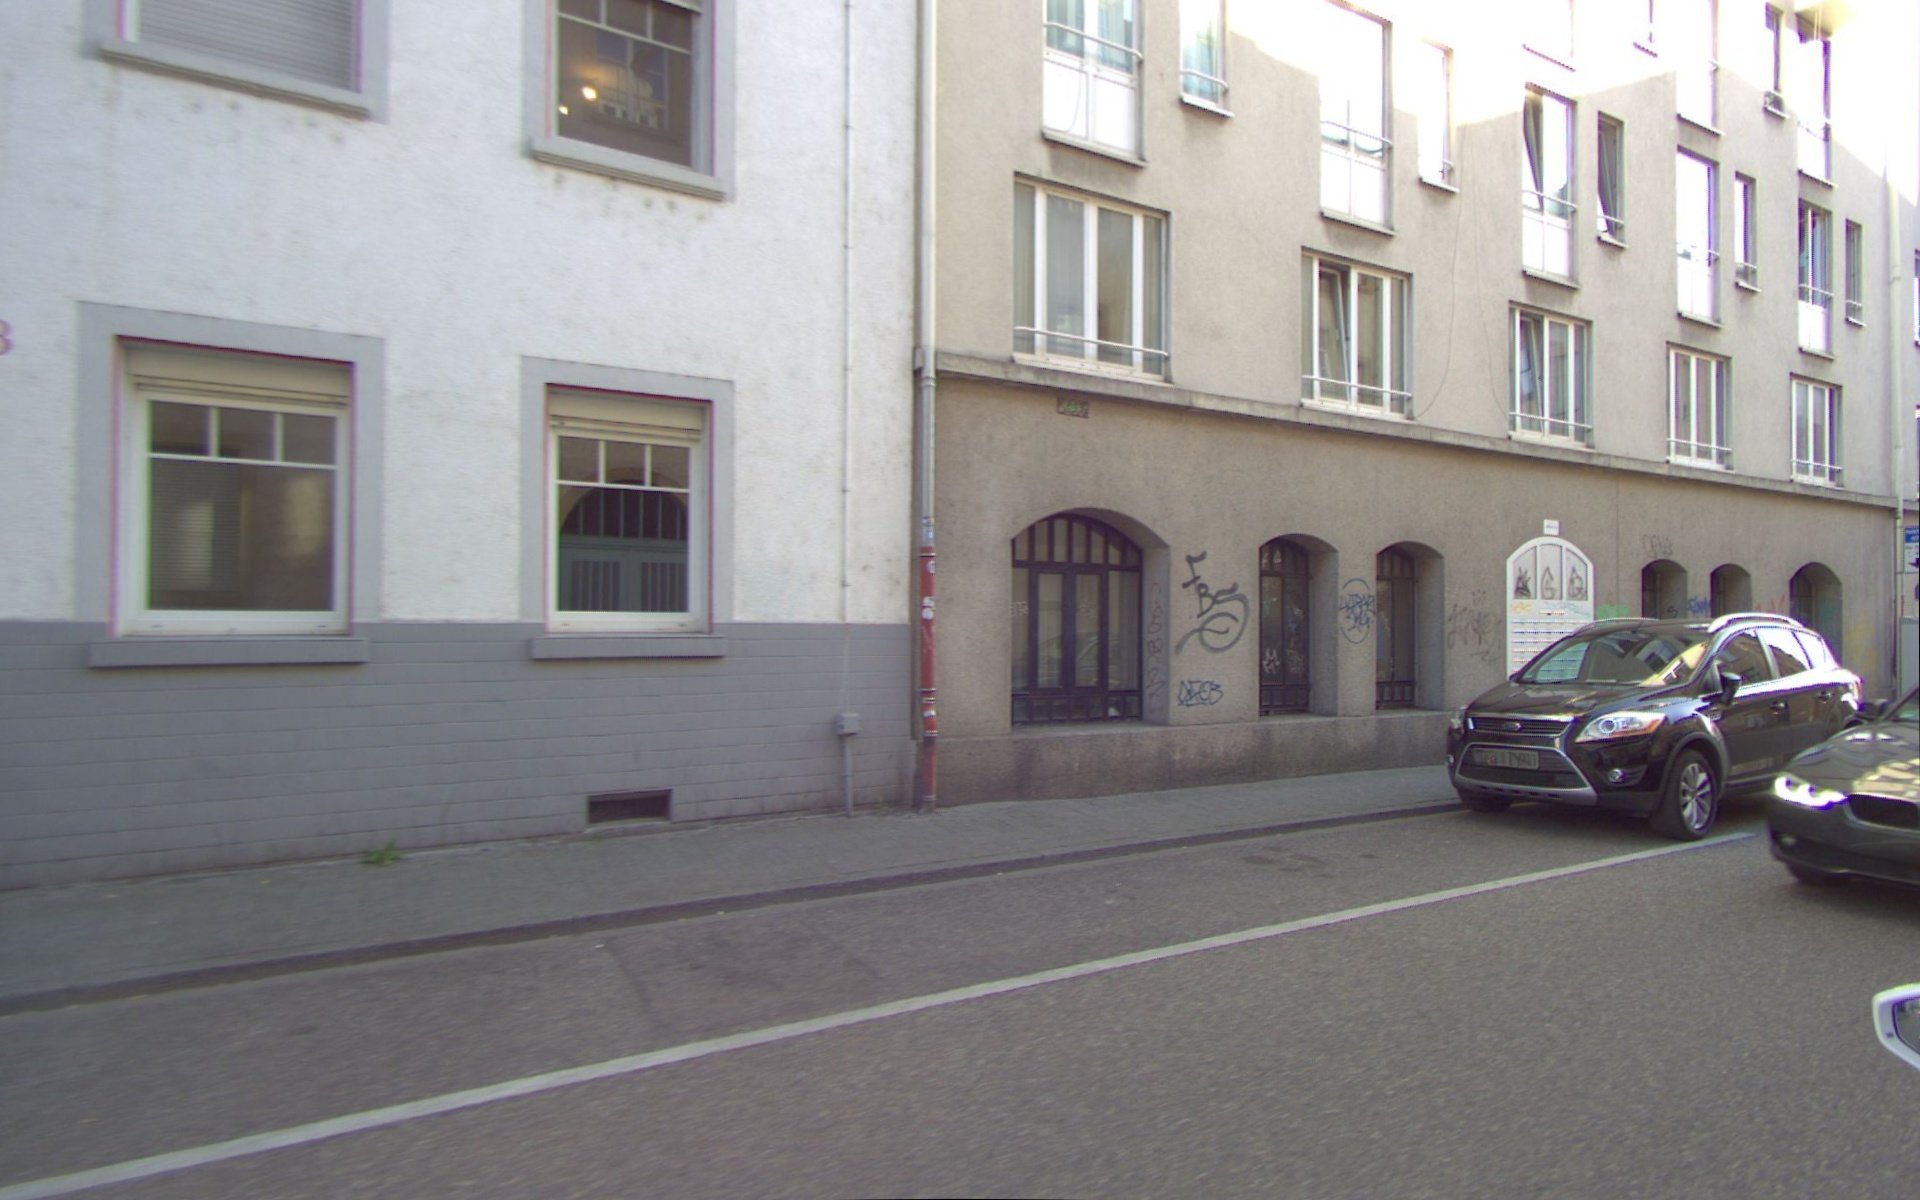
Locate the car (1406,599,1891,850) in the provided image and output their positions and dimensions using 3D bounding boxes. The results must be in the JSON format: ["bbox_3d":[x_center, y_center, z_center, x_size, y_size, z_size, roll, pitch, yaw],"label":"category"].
[{"bbox_3d":[6.024,0.939,8.727,4.138,1.733,1.733,1,-4,-28],"label":"car"}]

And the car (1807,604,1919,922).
[{"bbox_3d":[6.718,0.860,5.990,4.152,1.599,1.702,2,-2,-37],"label":"car"}]
